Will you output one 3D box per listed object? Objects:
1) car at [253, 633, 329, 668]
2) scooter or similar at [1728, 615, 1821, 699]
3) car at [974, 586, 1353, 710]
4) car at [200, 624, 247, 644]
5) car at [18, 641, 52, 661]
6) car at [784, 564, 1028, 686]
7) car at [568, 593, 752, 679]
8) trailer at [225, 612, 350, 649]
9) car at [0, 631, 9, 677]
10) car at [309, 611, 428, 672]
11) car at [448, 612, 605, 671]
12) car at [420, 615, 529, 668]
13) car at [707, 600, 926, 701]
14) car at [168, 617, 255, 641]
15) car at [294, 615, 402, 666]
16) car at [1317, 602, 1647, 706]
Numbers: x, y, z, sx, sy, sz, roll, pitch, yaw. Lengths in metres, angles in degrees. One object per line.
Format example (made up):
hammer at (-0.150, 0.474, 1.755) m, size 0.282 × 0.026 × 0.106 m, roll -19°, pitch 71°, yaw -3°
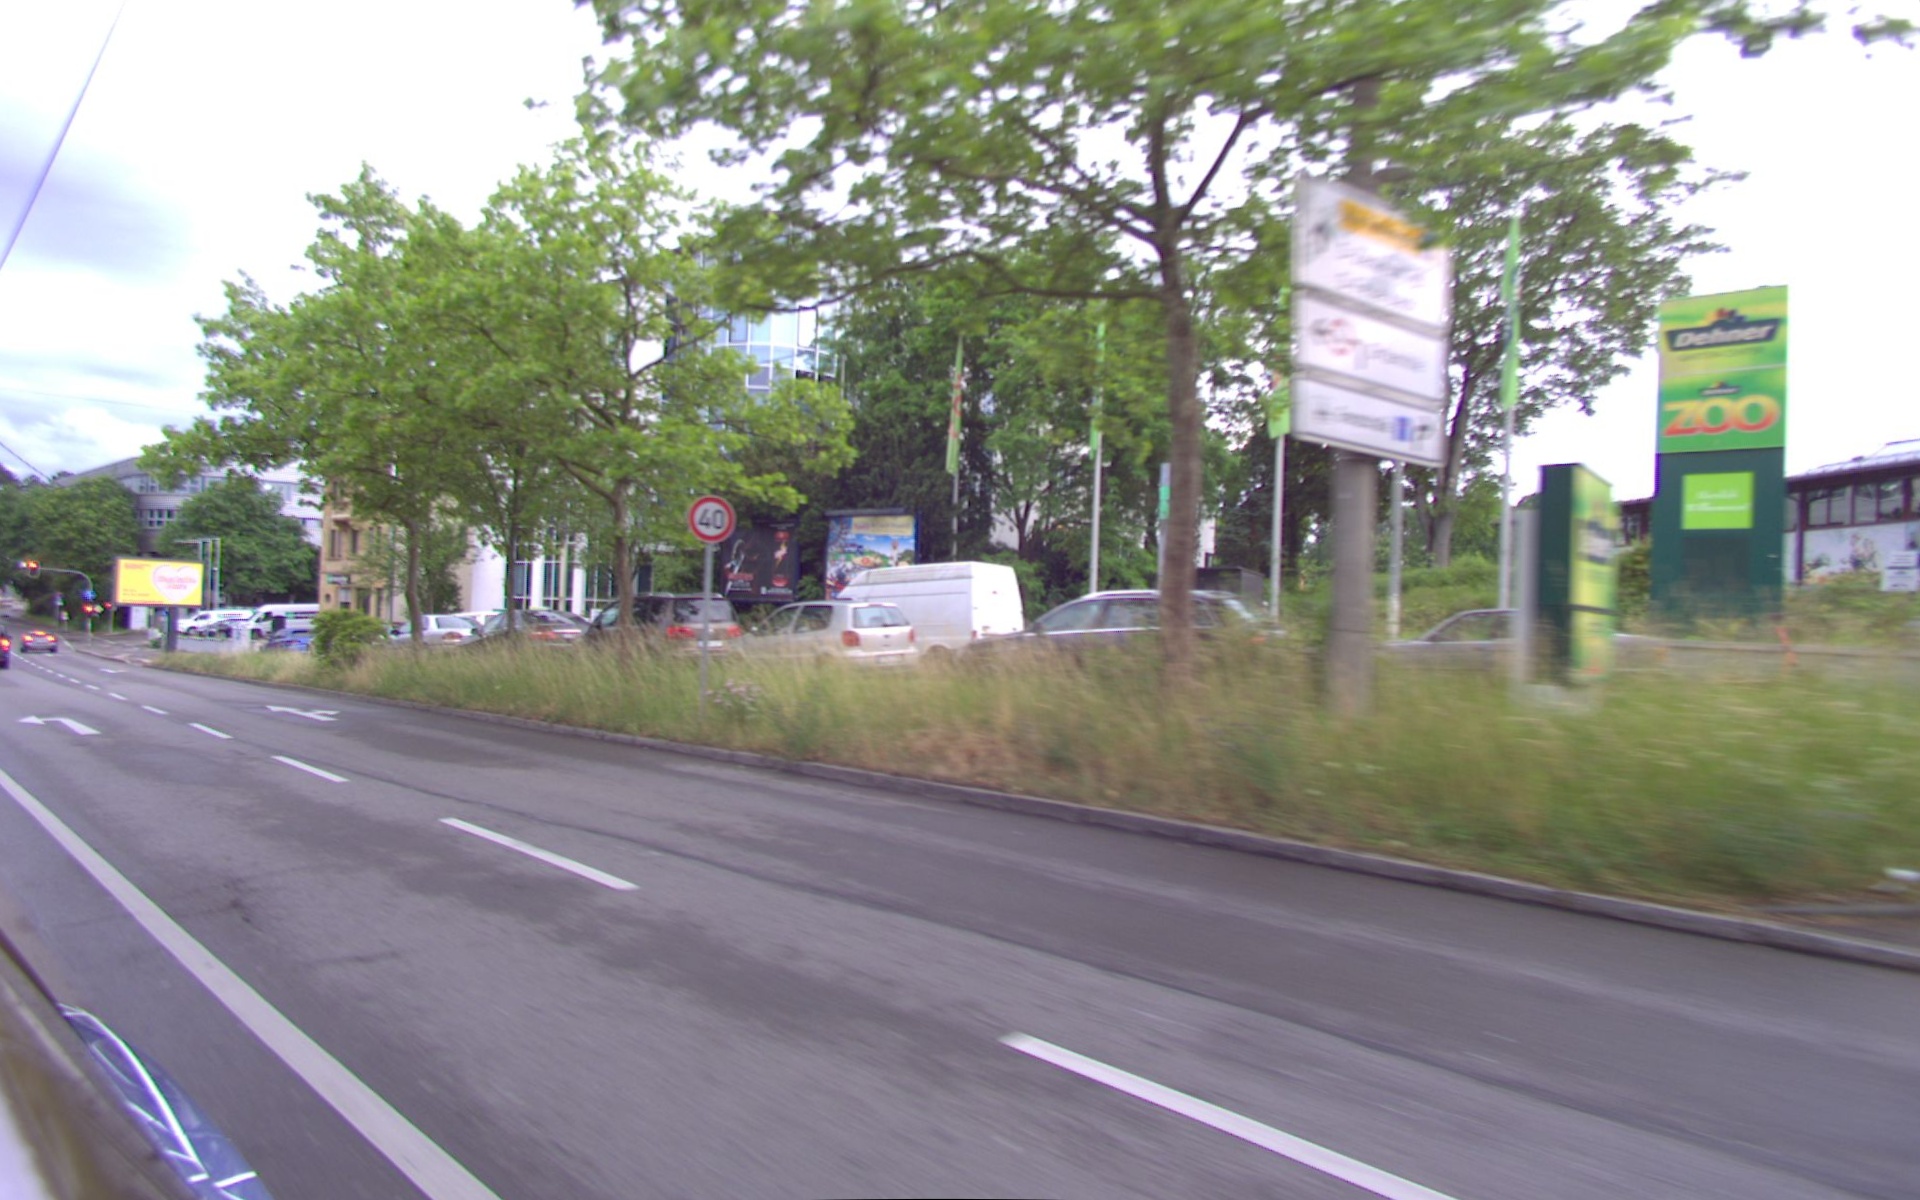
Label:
car at (-30.990, 2.364, 46.810) m, size 4.668 × 1.546 × 1.671 m, roll -3°, pitch -5°, yaw 40°
scooter or similar at (12.848, 0.882, 15.983) m, size 1.129 × 1.254 × 0.489 m, roll 1°, pitch -1°, yaw 40°
car at (2.385, 0.510, 12.744) m, size 4.544 × 1.303 × 1.521 m, roll 1°, pitch -2°, yaw 42°
car at (-54.925, 2.522, 75.528) m, size 1.227 × 1.435 × 2.649 m, roll 0°, pitch 0°, yaw 42°
car at (-61.313, 3.357, 67.061) m, size 2.453 × 1.232 × 1.362 m, roll 1°, pitch -2°, yaw 42°
car at (-1.337, 0.650, 22.935) m, size 5.647 × 2.462 × 1.944 m, roll -3°, pitch -4°, yaw 38°
car at (-5.788, 0.655, 19.352) m, size 3.644 × 1.463 × 1.636 m, roll 1°, pitch -2°, yaw 41°
trailer at (-48.310, 2.211, 72.854) m, size 2.394 × 2.446 × 7.022 m, roll 1°, pitch -2°, yaw 41°
car at (-41.895, 2.253, 42.859) m, size 5.041 × 1.881 × 1.993 m, roll -2°, pitch -4°, yaw 43°
car at (-16.216, 1.179, 27.676) m, size 3.989 × 1.552 × 1.575 m, roll -3°, pitch -5°, yaw 40°
car at (-9.971, 0.958, 23.134) m, size 4.218 × 1.214 × 1.679 m, roll -2°, pitch -4°, yaw 42°
car at (-17.317, 1.530, 36.005) m, size 4.580 × 1.759 × 1.752 m, roll -3°, pitch -5°, yaw 40°
car at (-2.377, 0.741, 16.227) m, size 3.706 × 1.405 × 1.346 m, roll 1°, pitch -2°, yaw 41°
car at (-61.650, 2.439, 83.443) m, size 2.215 × 1.815 × 5.308 m, roll 1°, pitch -2°, yaw 35°
car at (-19.158, 1.306, 31.601) m, size 4.442 × 1.489 × 1.629 m, roll -3°, pitch -5°, yaw 42°
car at (7.841, 0.754, 15.472) m, size 4.277 × 1.328 × 1.387 m, roll 1°, pitch -2°, yaw 41°
